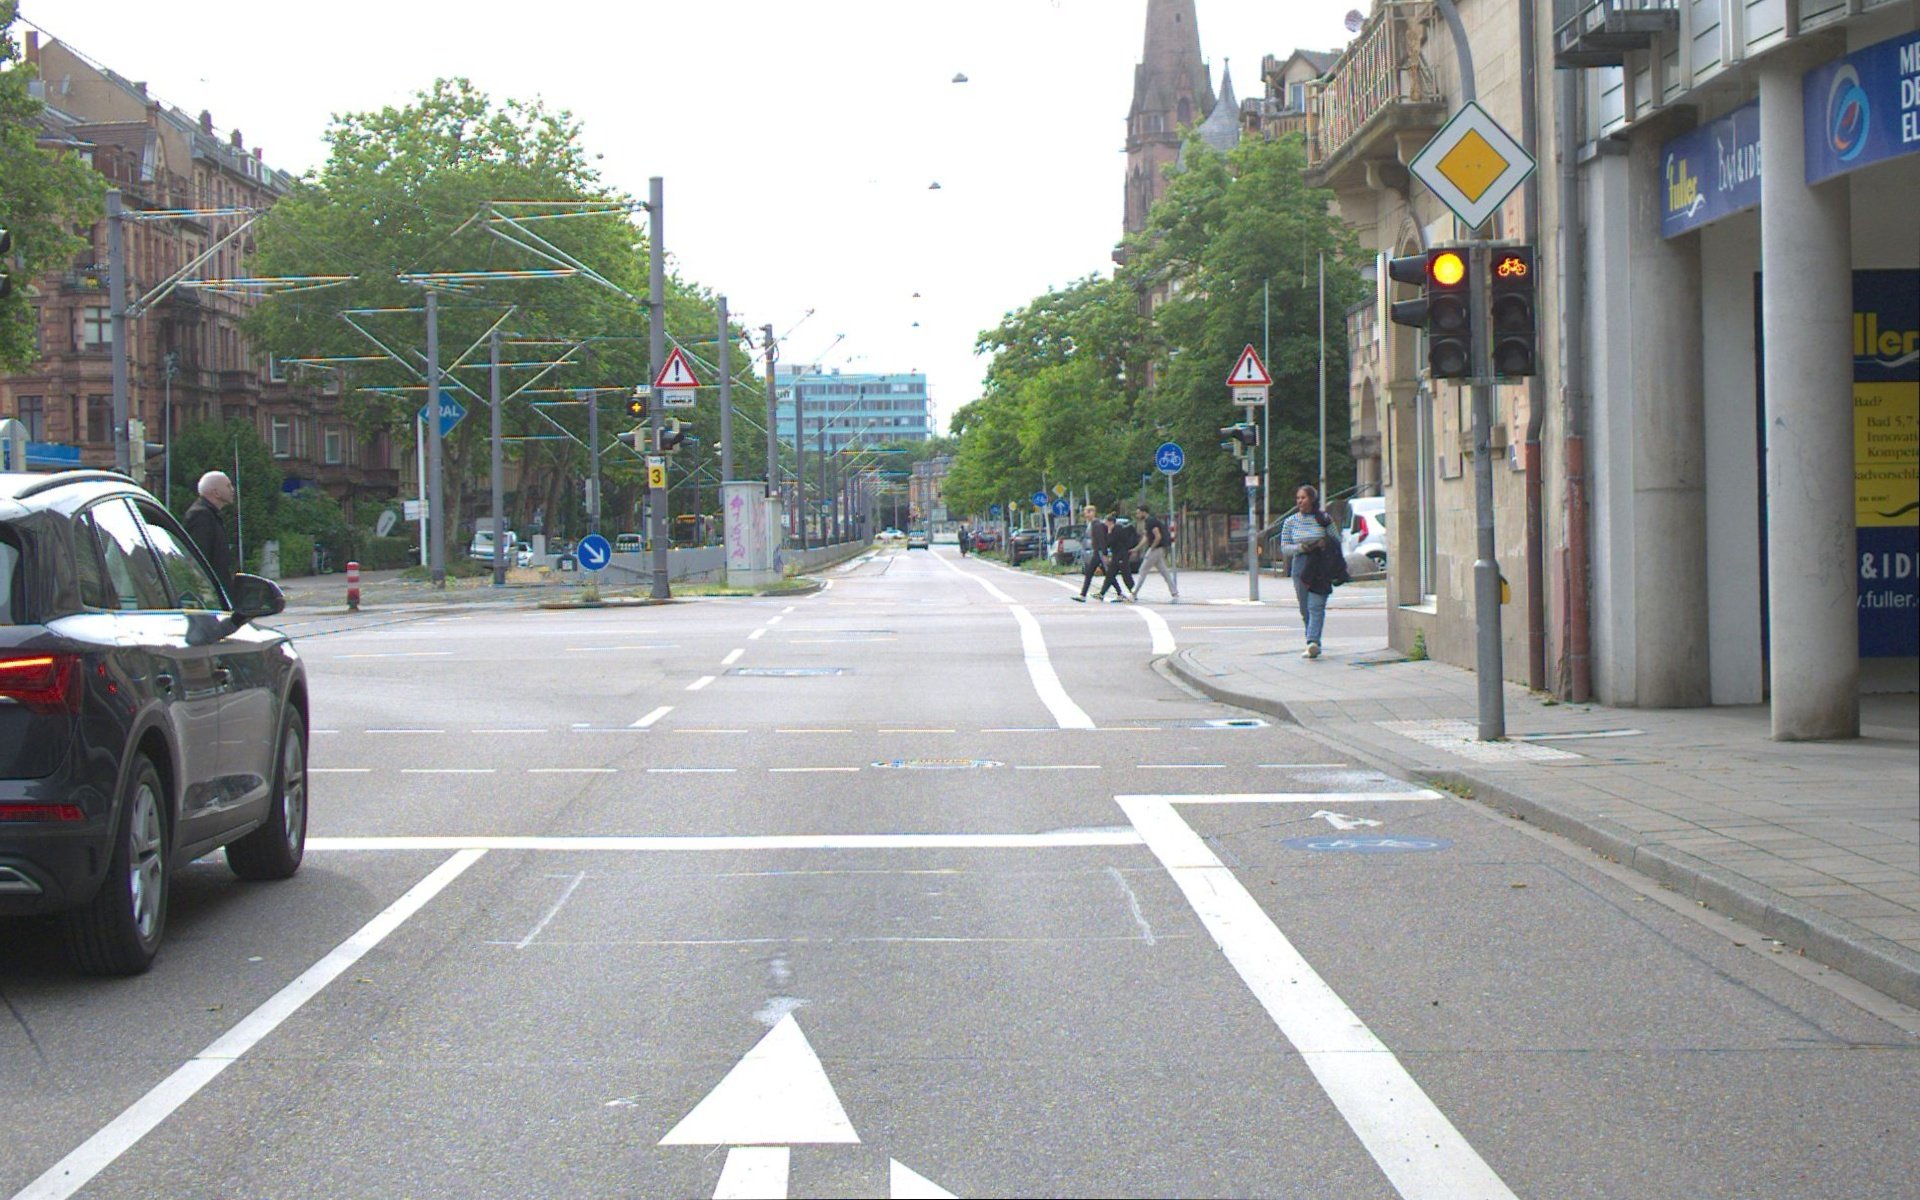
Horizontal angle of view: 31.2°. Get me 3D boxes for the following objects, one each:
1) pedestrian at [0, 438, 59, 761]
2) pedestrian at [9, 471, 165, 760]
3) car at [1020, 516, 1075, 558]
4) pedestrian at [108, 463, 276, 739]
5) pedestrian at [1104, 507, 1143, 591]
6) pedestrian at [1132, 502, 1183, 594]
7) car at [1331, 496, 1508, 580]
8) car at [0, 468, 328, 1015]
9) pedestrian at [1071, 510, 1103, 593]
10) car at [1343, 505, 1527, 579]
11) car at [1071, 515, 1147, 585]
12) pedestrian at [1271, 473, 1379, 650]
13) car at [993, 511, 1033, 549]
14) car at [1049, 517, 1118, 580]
[{"bbox_3d":[-5.628,0.000,19.137,1.130,1.772,0.628,-1,1,-18],"label":"pedestrian"},{"bbox_3d":[-5.089,0.083,20.079,0.728,1.656,0.756,0,1,-1],"label":"pedestrian"},{"bbox_3d":[3.530,-2.569,139.773,1.993,1.602,4.164,-2,1,-1],"label":"car"},{"bbox_3d":[-5.080,-0.004,22.743,0.917,1.778,0.646,1,1,37],"label":"pedestrian"},{"bbox_3d":[3.015,-0.937,63.323,0.653,1.531,0.466,0,1,-5],"label":"pedestrian"},{"bbox_3d":[3.547,-0.938,61.788,0.850,1.648,0.508,0,1,-3],"label":"pedestrian"},{"bbox_3d":[10.618,-1.432,79.625,3.799,1.897,2.000,0,1,0],"label":"car"},{"bbox_3d":[-3.537,0.379,12.206,1.880,1.596,4.358,0,1,-1],"label":"car"},{"bbox_3d":[2.354,-0.902,63.849,0.545,1.531,0.466,0,1,-5],"label":"pedestrian"},{"bbox_3d":[10.502,-1.282,76.215,3.799,1.595,2.000,0,1,0],"label":"car"},{"bbox_3d":[4.380,-1.492,101.590,1.993,2.007,4.000,0,1,-1],"label":"car"},{"bbox_3d":[3.509,-0.370,33.021,0.671,1.674,0.866,1,1,38],"label":"pedestrian"},{"bbox_3d":[2.822,-3.756,183.740,1.993,2.007,4.000,0,1,-1],"label":"car"},{"bbox_3d":[3.962,-1.663,110.968,1.993,2.007,4.000,0,1,-1],"label":"car"}]
